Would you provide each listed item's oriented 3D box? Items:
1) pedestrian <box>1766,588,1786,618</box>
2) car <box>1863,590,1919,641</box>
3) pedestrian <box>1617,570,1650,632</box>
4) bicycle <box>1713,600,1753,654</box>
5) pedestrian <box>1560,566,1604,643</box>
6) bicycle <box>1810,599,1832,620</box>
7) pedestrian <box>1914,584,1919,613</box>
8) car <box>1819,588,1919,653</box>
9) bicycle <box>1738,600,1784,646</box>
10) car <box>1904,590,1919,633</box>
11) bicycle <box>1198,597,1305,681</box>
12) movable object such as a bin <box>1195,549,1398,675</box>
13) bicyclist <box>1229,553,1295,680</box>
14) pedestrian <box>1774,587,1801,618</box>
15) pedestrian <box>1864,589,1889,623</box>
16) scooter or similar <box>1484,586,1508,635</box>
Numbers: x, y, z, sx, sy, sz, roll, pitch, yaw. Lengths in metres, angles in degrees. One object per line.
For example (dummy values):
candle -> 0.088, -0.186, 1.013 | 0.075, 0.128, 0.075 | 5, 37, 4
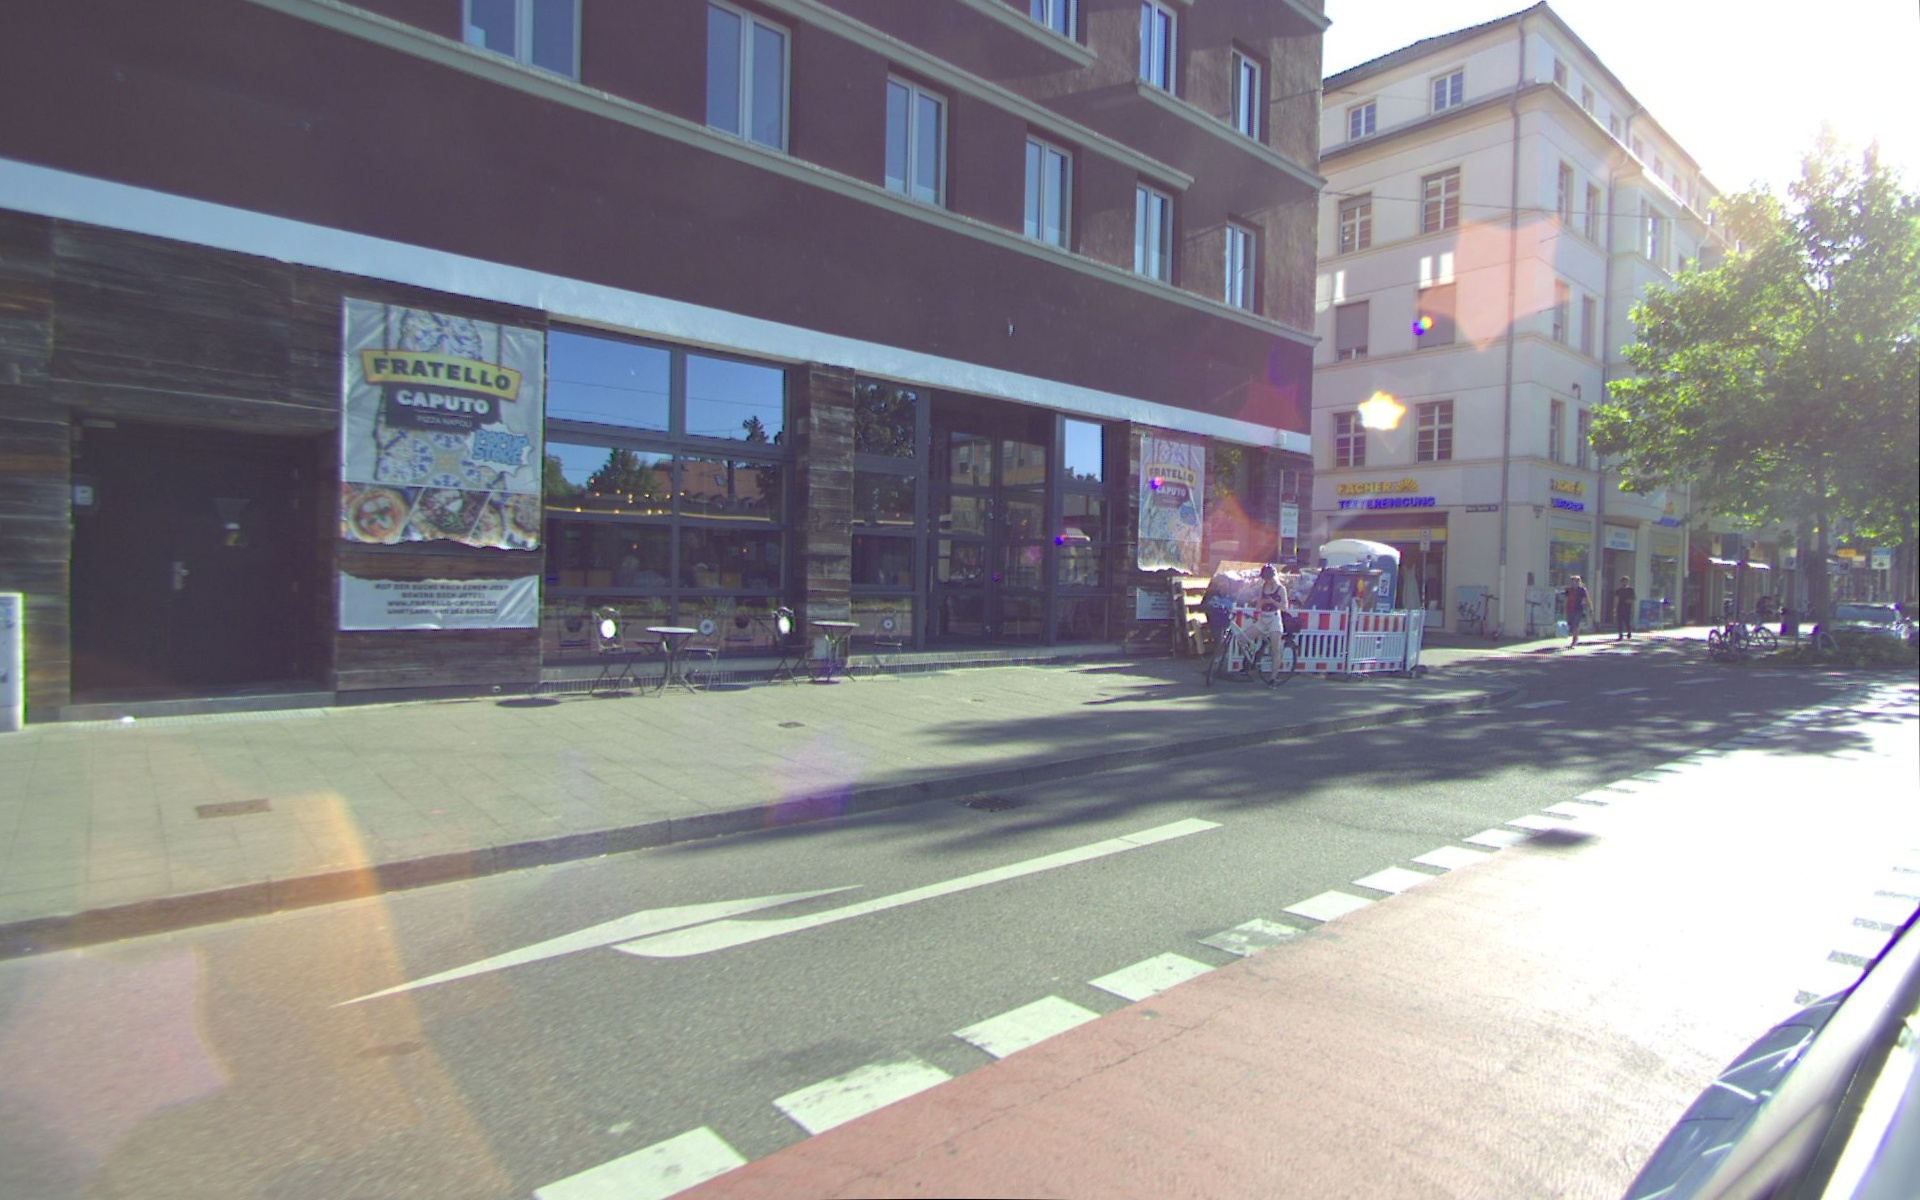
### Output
pedestrian -> 37.295, 0.143, 46.228 | 0.806, 1.349, 0.536 | 0, 2, -40
car -> 30.543, 0.472, 32.281 | 4.513, 1.528, 2.042 | 0, 1, -41
pedestrian -> 19.141, 0.016, 28.768 | 0.757, 1.732, 0.559 | 0, 1, -41
bicycle -> 17.975, 0.597, 23.520 | 0.580, 1.177, 2.204 | -1, 0, 41
pedestrian -> 16.037, 0.097, 26.088 | 0.848, 1.923, 0.715 | 0, 2, -41
bicycle -> 43.688, 0.467, 51.357 | 2.577, 1.036, 0.491 | 0, 1, -42
pedestrian -> 69.022, -0.106, 72.317 | 1.027, 2.039, 1.090 | 0, 0, -40
car -> 24.600, 0.500, 27.097 | 4.358, 1.574, 1.792 | 0, 1, -41
bicycle -> 20.873, 0.583, 26.358 | 1.658, 1.150, 0.489 | 0, 0, -35
car -> 35.979, 0.465, 37.001 | 3.735, 1.520, 1.698 | 0, 3, -41
bicycle -> 4.040, 0.524, 13.964 | 1.650, 1.099, 0.319 | 1, 1, -29
movable object such as a bin -> 5.689, 0.169, 16.949 | 1.945, 1.866, 3.425 | 2, 1, 43
bicyclist -> 4.171, 0.217, 13.971 | 0.585, 1.711, 0.603 | 1, 1, -30
pedestrian -> 38.126, 0.124, 46.644 | 0.842, 1.386, 0.787 | 0, 2, -40
pedestrian -> 46.741, 0.289, 51.606 | 0.901, 1.726, 0.860 | 0, 1, -43
scooter or similar -> 14.662, 0.277, 27.703 | 0.377, 1.302, 1.199 | 0, 0, 19
